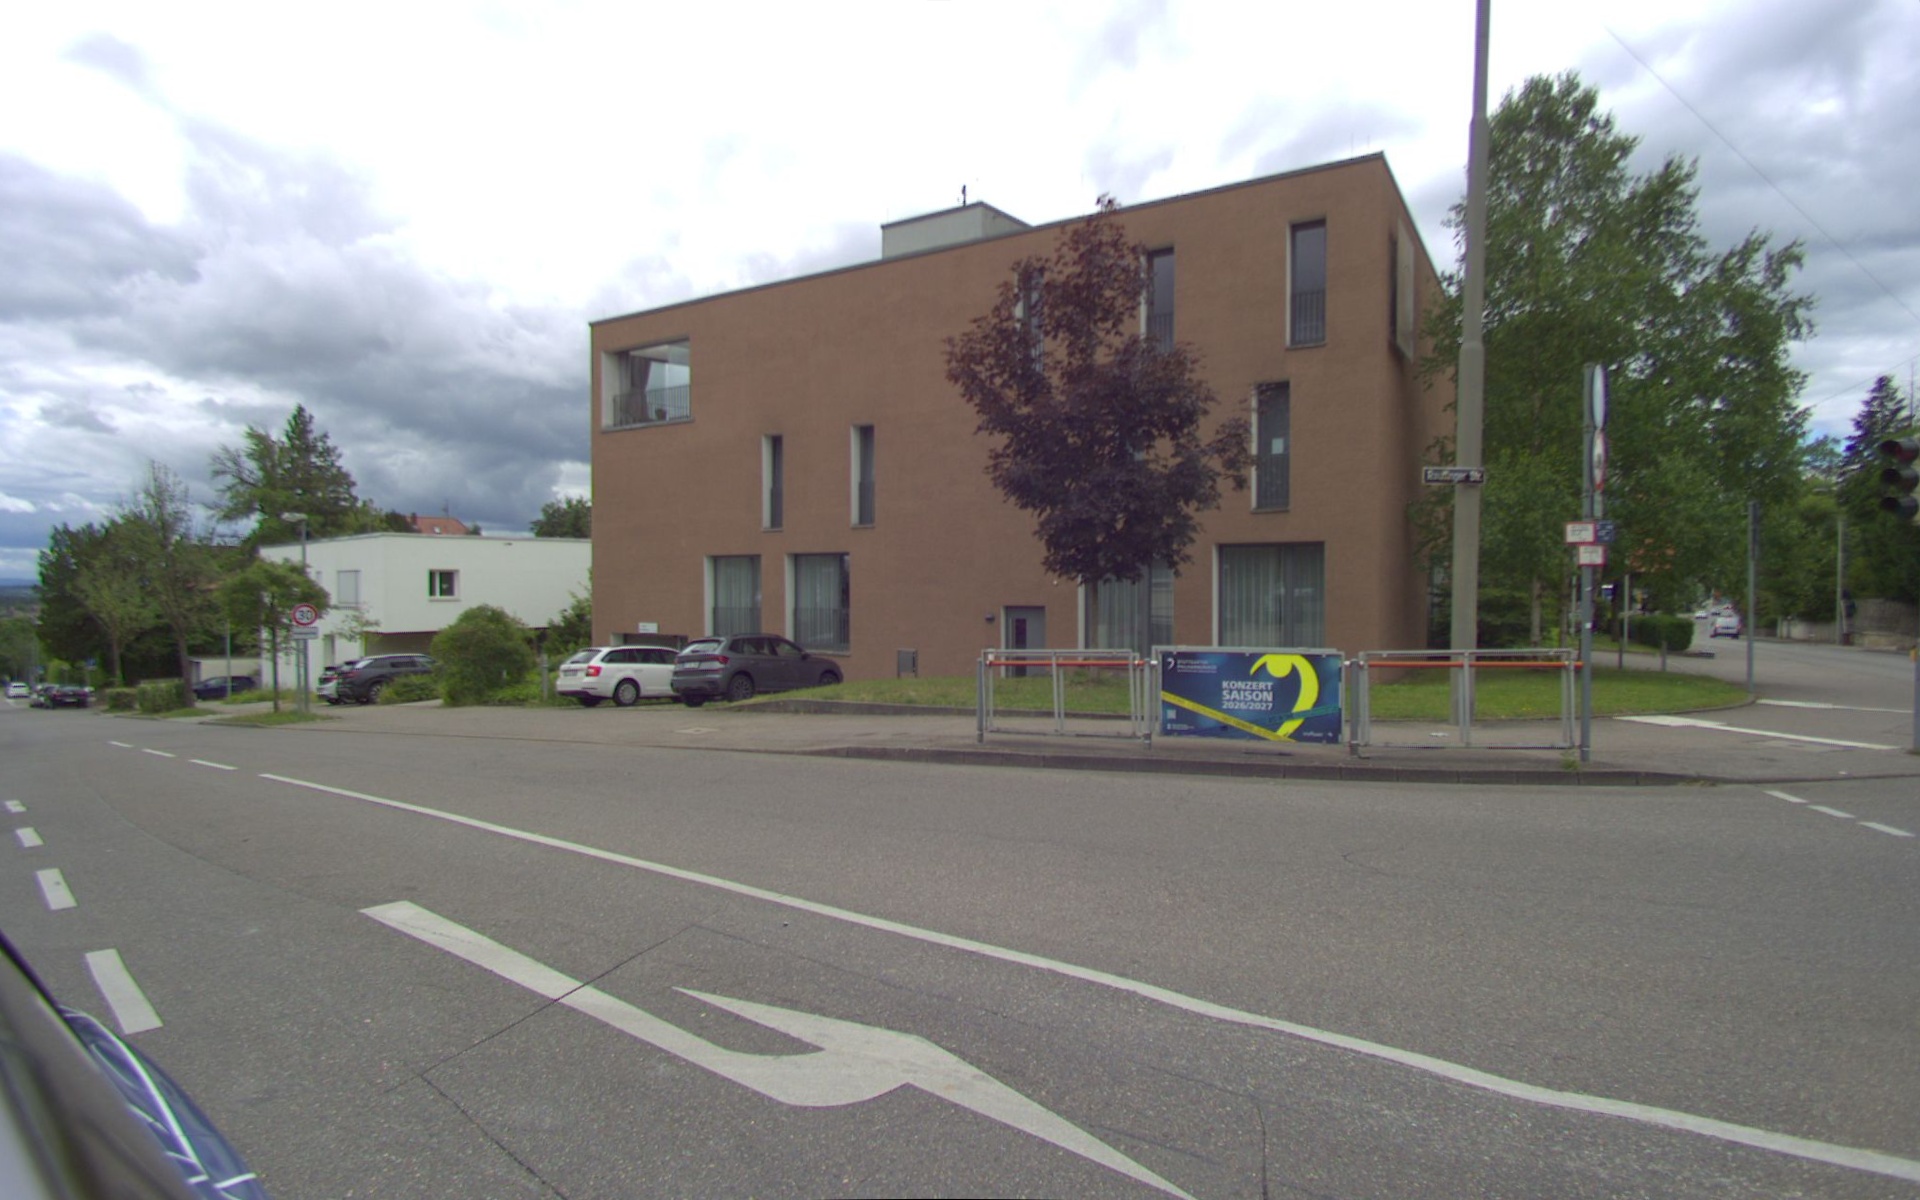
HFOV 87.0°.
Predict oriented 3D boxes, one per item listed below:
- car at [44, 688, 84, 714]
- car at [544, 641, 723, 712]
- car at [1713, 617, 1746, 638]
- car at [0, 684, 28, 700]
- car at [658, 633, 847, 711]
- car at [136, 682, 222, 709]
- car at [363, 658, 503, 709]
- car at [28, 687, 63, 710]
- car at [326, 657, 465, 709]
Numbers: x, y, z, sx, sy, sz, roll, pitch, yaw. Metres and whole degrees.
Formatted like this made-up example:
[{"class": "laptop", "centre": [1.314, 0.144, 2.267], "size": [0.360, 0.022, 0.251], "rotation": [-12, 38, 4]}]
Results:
[{"class": "car", "centre": [-54.947, 6.175, 62.048], "size": [1.638, 1.432, 4.003], "rotation": [0, -4, -44]}, {"class": "car", "centre": [-8.004, 1.866, 25.109], "size": [1.724, 1.497, 3.950], "rotation": [-5, -4, 37]}, {"class": "car", "centre": [67.746, 2.414, 89.139], "size": [1.807, 1.724, 3.993], "rotation": [-1, -2, 31]}, {"class": "car", "centre": [-95.925, 9.308, 102.326], "size": [4.362, 1.432, 1.861], "rotation": [-3, -3, 38]}, {"class": "car", "centre": [-4.522, 1.555, 22.521], "size": [1.724, 1.497, 3.950], "rotation": [-5, -4, 37]}, {"class": "car", "centre": [-46.984, 5.742, 60.915], "size": [3.939, 1.296, 1.665], "rotation": [0, -4, -43]}, {"class": "car", "centre": [-18.241, 2.880, 35.135], "size": [1.727, 1.497, 3.943], "rotation": [-6, -4, 43]}, {"class": "car", "centre": [-61.570, 6.634, 68.126], "size": [1.638, 1.432, 4.371], "rotation": [0, -4, -44]}, {"class": "car", "centre": [-19.982, 2.921, 35.919], "size": [1.793, 1.608, 3.943], "rotation": [-6, -4, 43]}]
